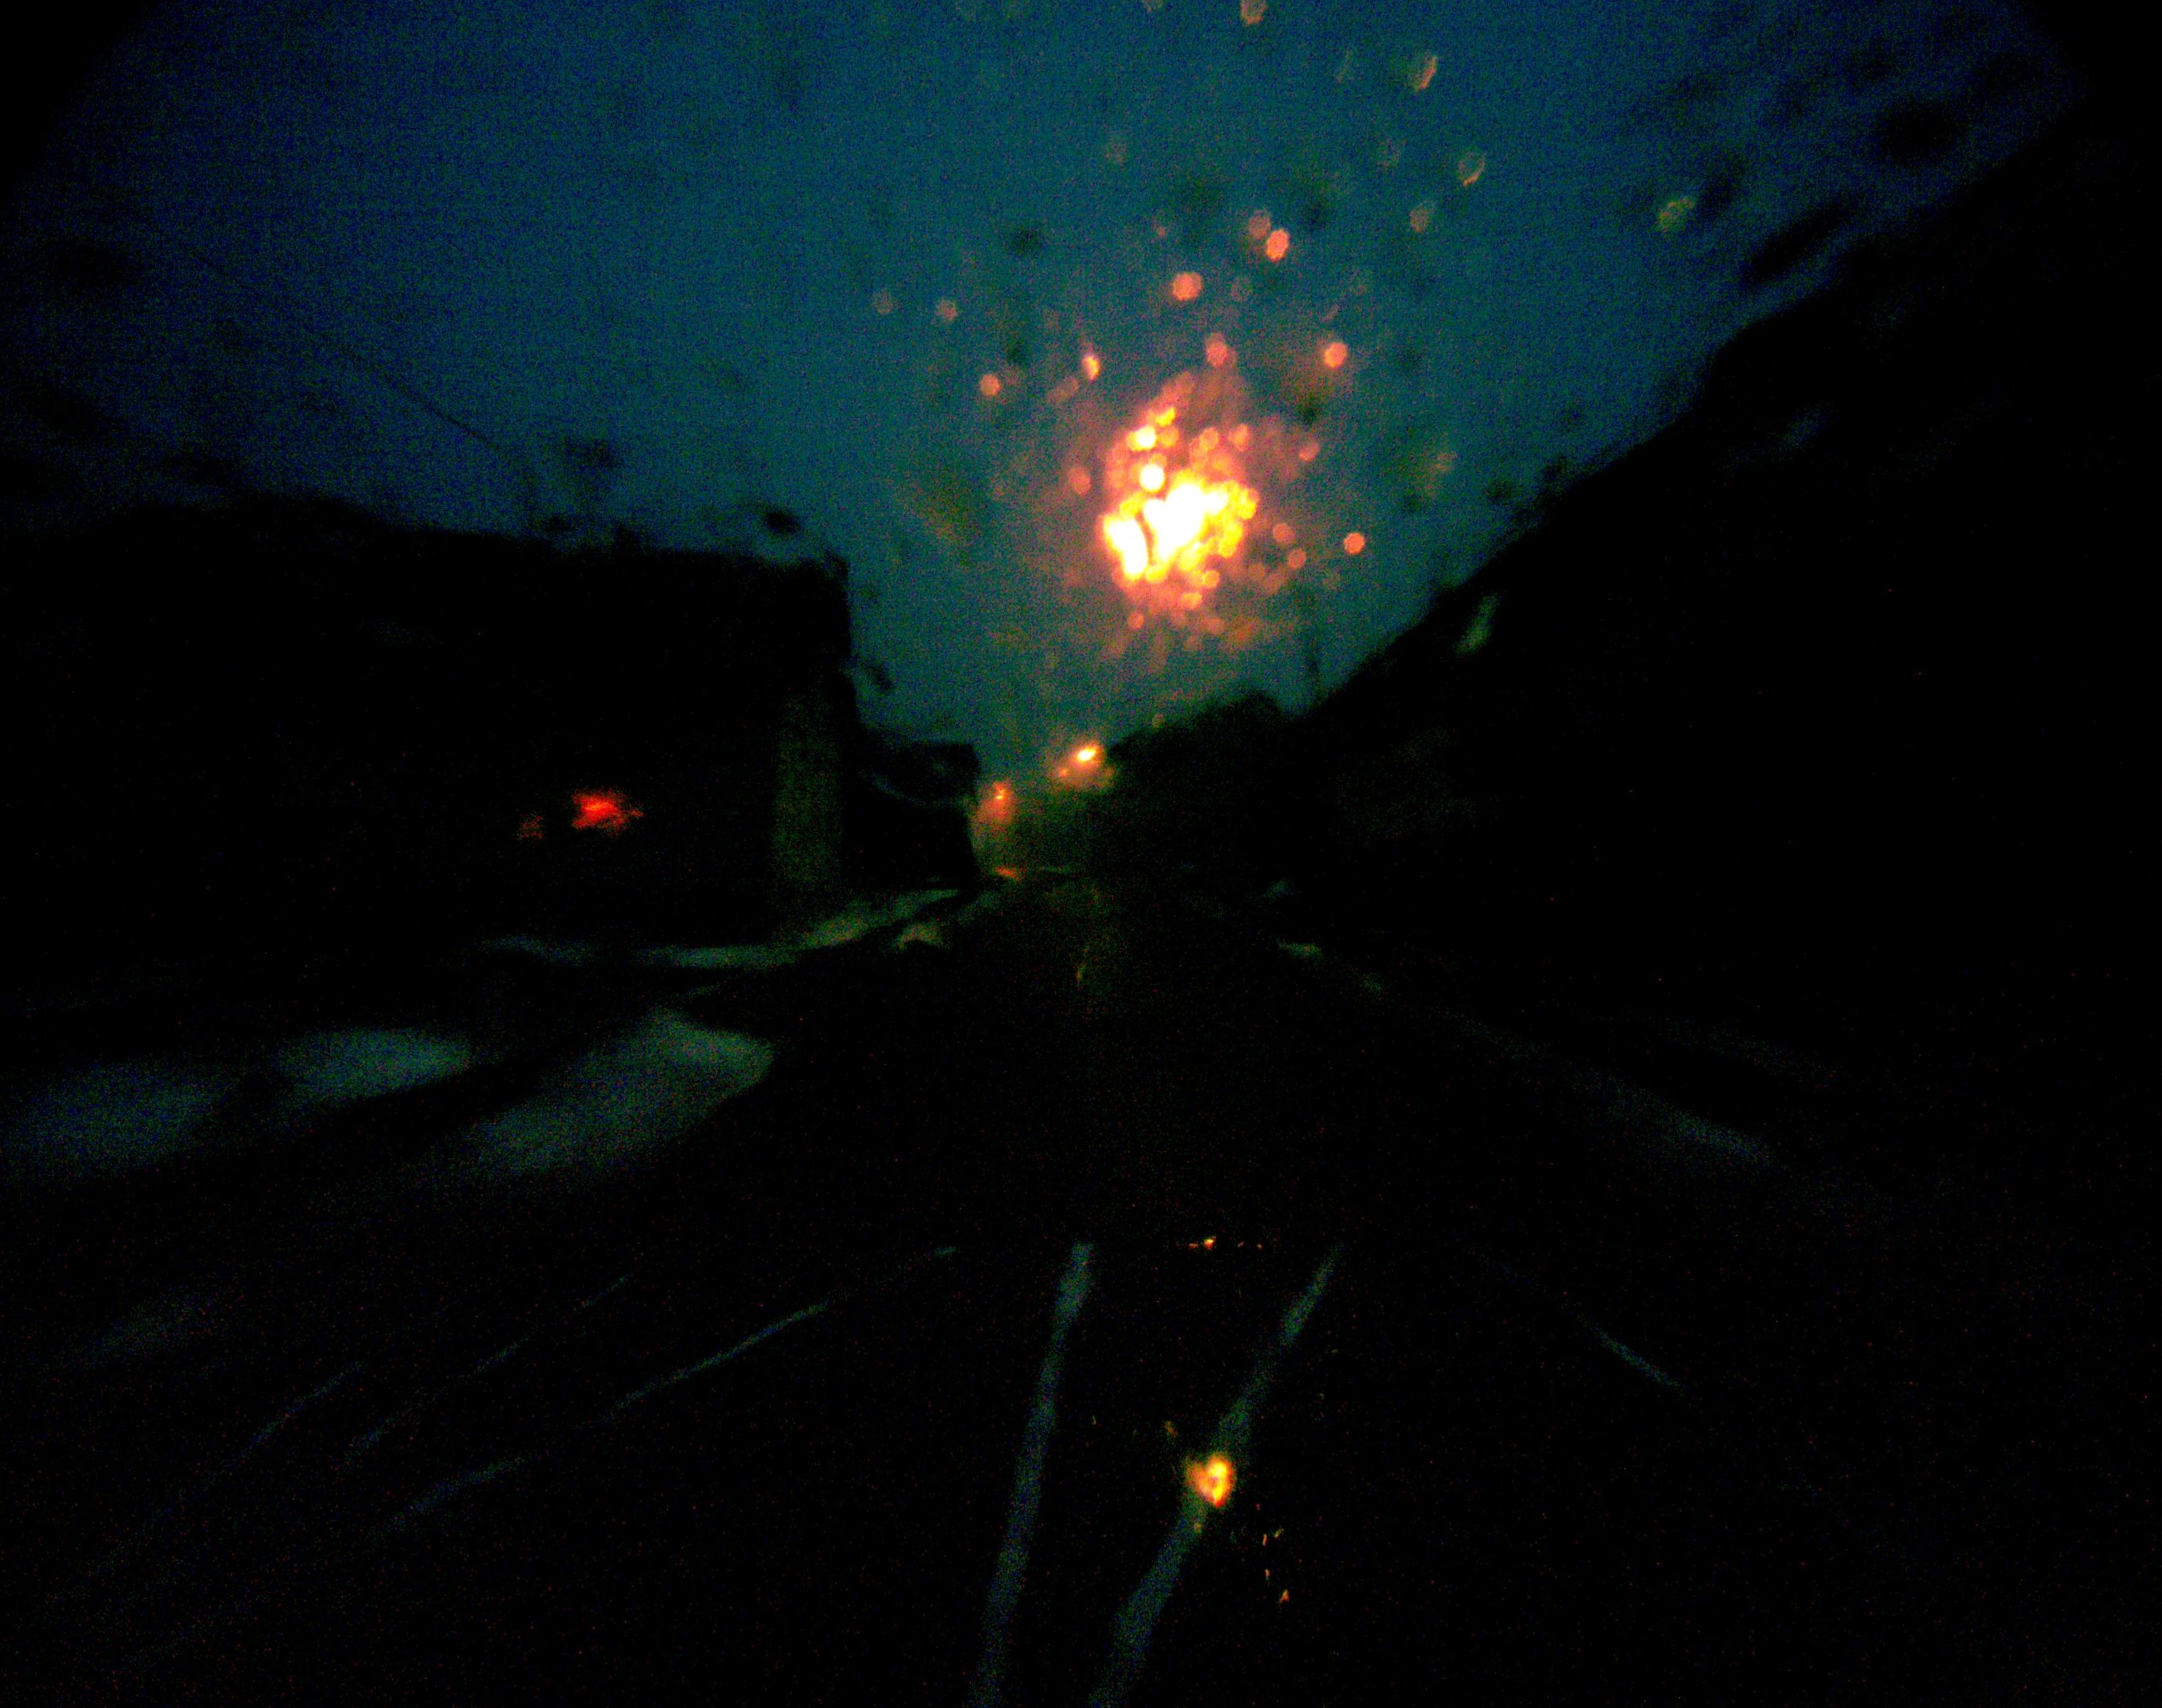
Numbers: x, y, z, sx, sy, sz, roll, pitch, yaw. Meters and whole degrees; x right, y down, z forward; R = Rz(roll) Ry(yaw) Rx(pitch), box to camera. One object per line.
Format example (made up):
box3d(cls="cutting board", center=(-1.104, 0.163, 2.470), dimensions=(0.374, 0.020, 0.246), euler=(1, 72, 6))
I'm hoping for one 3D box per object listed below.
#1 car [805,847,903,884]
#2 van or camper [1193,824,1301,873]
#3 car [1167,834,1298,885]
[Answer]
box3d(cls="car", center=(-11.210, 0.550, 37.859), dimensions=(4.462, 1.578, 1.997), euler=(-3, 2, -12))
box3d(cls="van or camper", center=(8.636, -0.287, 39.513), dimensions=(5.312, 2.434, 2.141), euler=(-1, 1, -26))
box3d(cls="car", center=(5.921, 0.219, 30.206), dimensions=(4.803, 1.657, 1.890), euler=(-4, 0, 3))
